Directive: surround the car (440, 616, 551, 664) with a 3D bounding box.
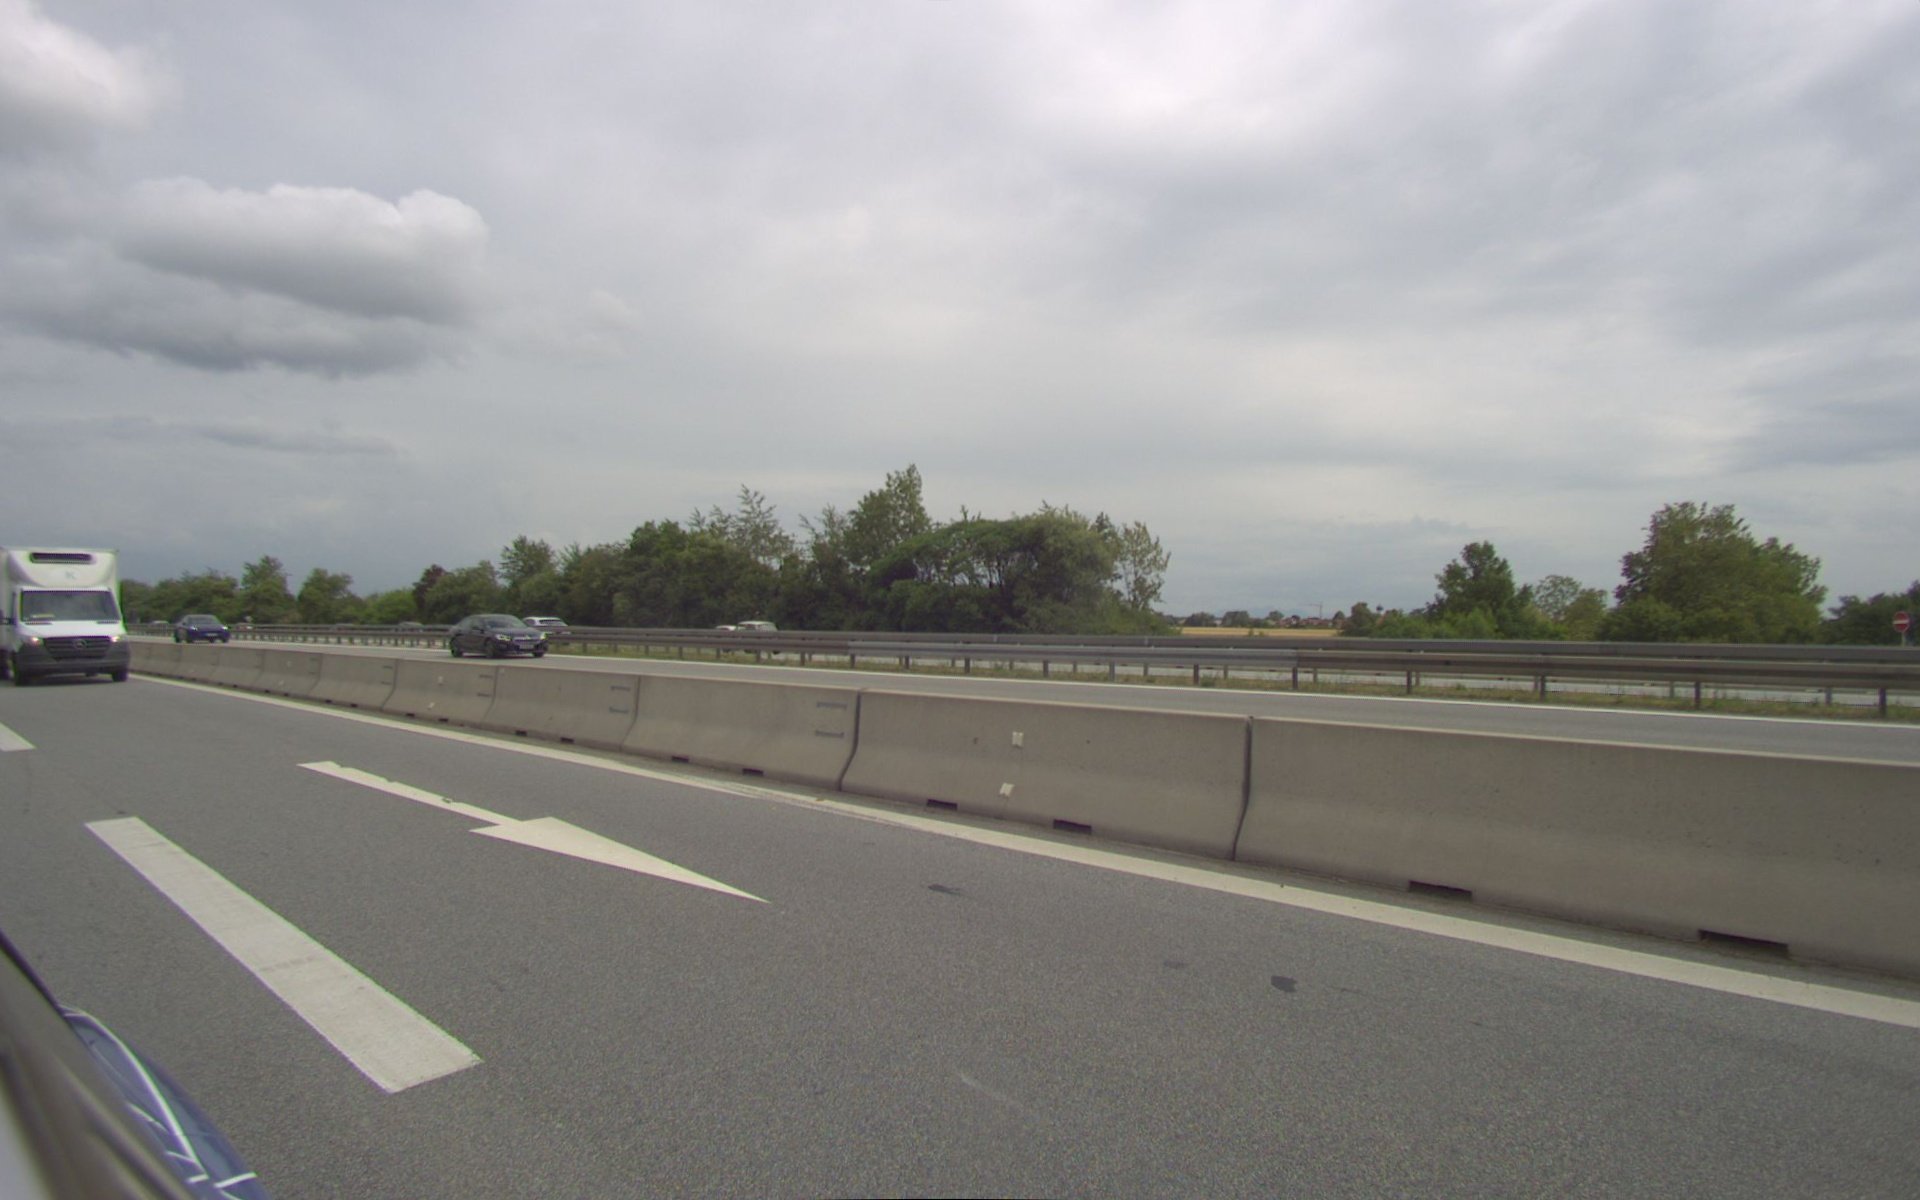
[{"bbox_3d":[-15.523,1.294,33.754,4.382,1.461,1.754,-1,-1,41],"label":"car"}]

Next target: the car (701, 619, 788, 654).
[{"bbox_3d":[-9.629,1.606,45.057,4.001,1.480,1.670,-1,-1,40],"label":"car"}]

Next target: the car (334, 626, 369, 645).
[{"bbox_3d":[-59.550,3.489,99.021,3.997,1.741,1.670,-1,0,40],"label":"car"}]

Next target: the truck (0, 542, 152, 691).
[{"bbox_3d":[-21.579,0.394,24.132,6.364,3.113,2.380,-1,-1,40],"label":"truck"}]

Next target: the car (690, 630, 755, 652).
[{"bbox_3d":[-13.976,2.369,59.418,4.001,1.201,1.670,-1,-1,40],"label":"car"}]

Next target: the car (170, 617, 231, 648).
[{"bbox_3d":[-43.989,1.863,58.595,4.382,1.674,1.973,-1,-1,41],"label":"car"}]

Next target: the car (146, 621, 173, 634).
[{"bbox_3d":[-96.816,3.354,122.445,3.715,1.531,1.716,-1,-2,38],"label":"car"}]

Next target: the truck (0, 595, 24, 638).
[{"bbox_3d":[-91.444,1.586,96.106,6.608,3.941,3.212,-1,-1,42],"label":"truck"}]

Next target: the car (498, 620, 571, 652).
[{"bbox_3d":[-20.901,1.759,49.613,4.001,1.480,1.670,-1,-1,40],"label":"car"}]
